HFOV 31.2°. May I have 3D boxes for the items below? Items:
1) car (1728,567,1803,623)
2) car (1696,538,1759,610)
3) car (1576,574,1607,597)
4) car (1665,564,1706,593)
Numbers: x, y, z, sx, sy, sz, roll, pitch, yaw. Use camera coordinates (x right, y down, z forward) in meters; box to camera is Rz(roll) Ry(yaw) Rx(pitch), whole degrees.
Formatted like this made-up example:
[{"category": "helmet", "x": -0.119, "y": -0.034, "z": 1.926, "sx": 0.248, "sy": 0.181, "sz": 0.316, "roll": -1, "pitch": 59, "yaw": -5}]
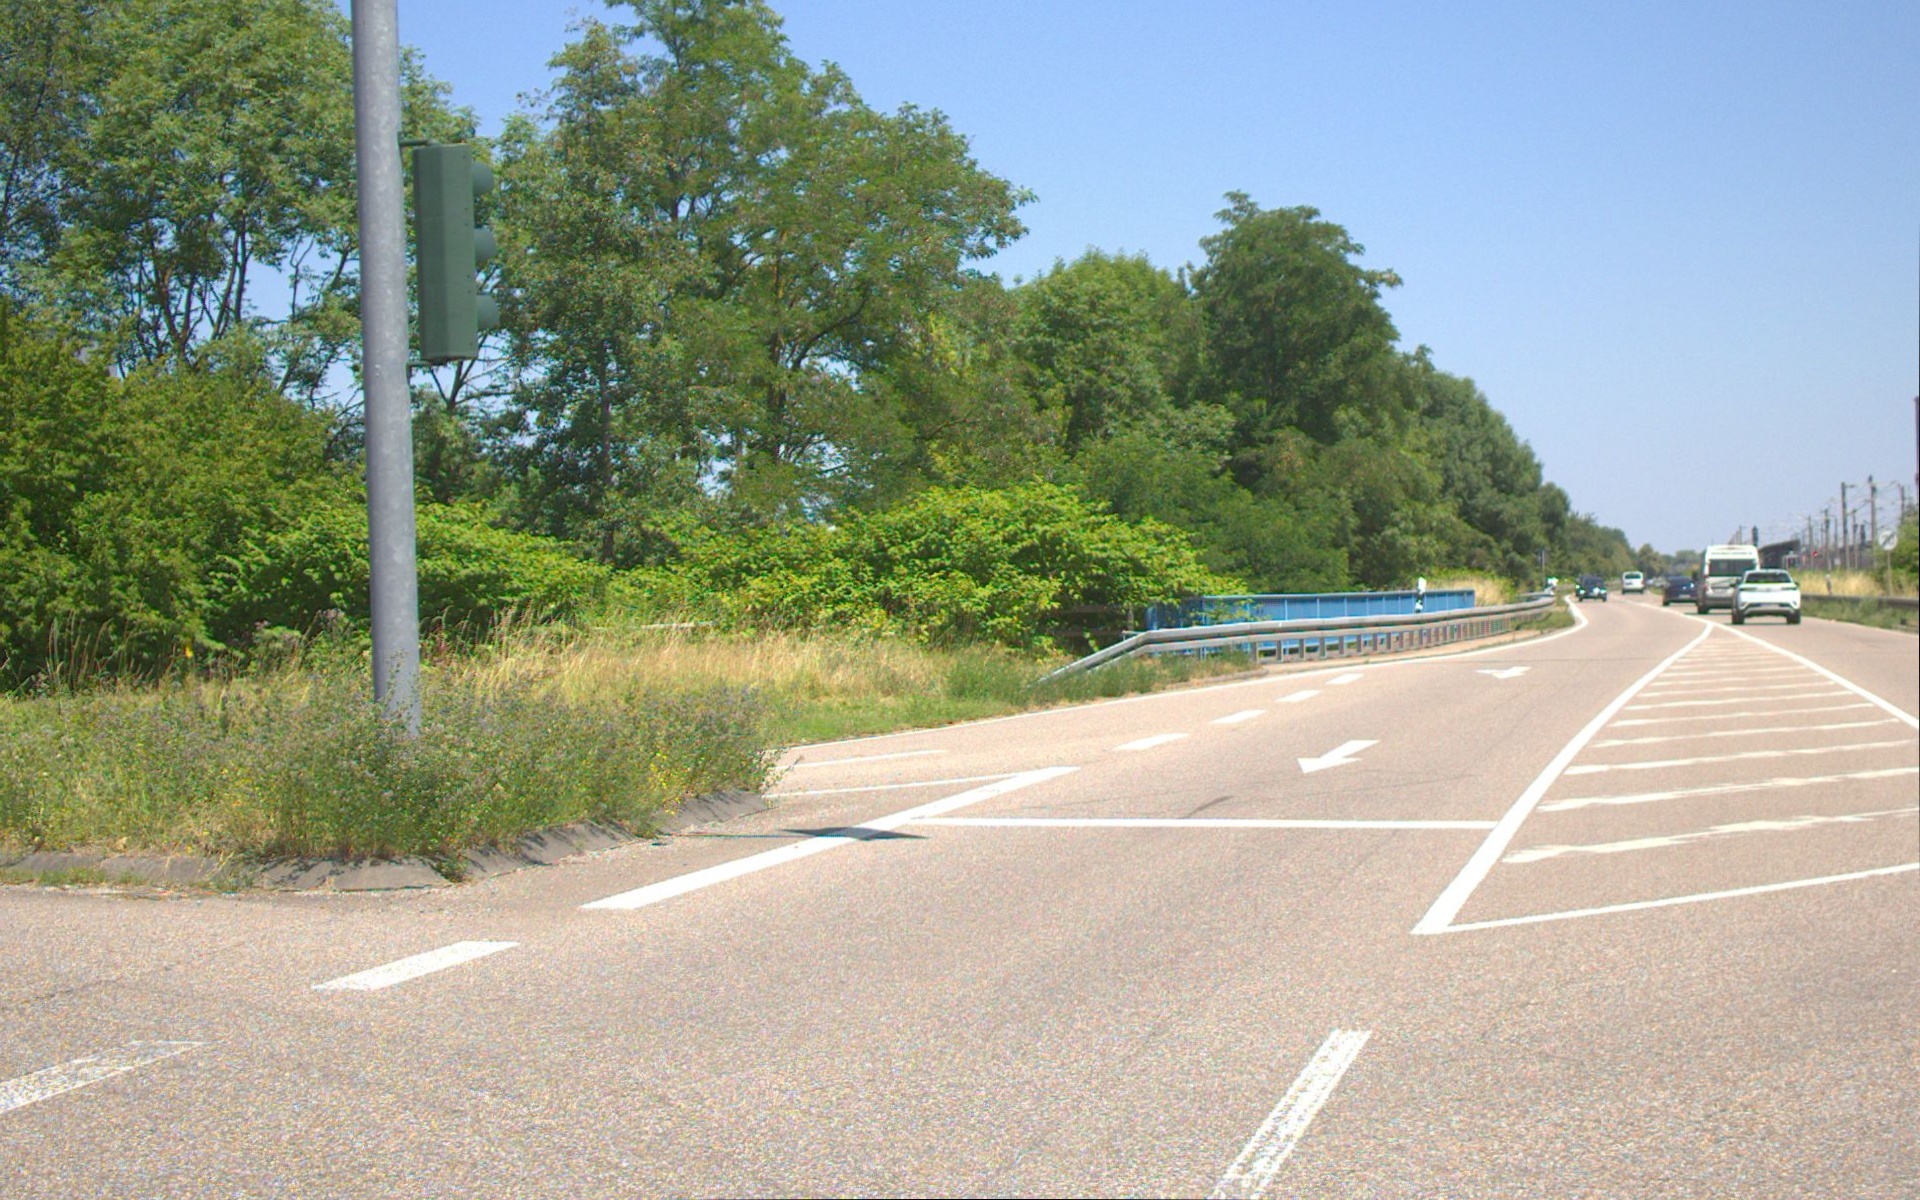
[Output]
[{"category": "car", "x": 22.862, "y": -0.165, "z": 97.735, "sx": 1.818, "sy": 1.558, "sz": 4.277, "roll": 0, "pitch": 1, "yaw": 10}, {"category": "car", "x": 28.522, "y": -0.974, "z": 127.906, "sx": 2.189, "sy": 2.595, "sz": 6.747, "roll": 0, "pitch": 1, "yaw": 12}, {"category": "car", "x": 38.801, "y": -0.890, "z": 211.202, "sx": 1.857, "sy": 1.375, "sz": 4.501, "roll": 0, "pitch": 1, "yaw": 11}, {"category": "car", "x": 35.295, "y": -1.070, "z": 167.304, "sx": 1.857, "sy": 1.375, "sz": 4.501, "roll": 0, "pitch": 1, "yaw": 11}]
